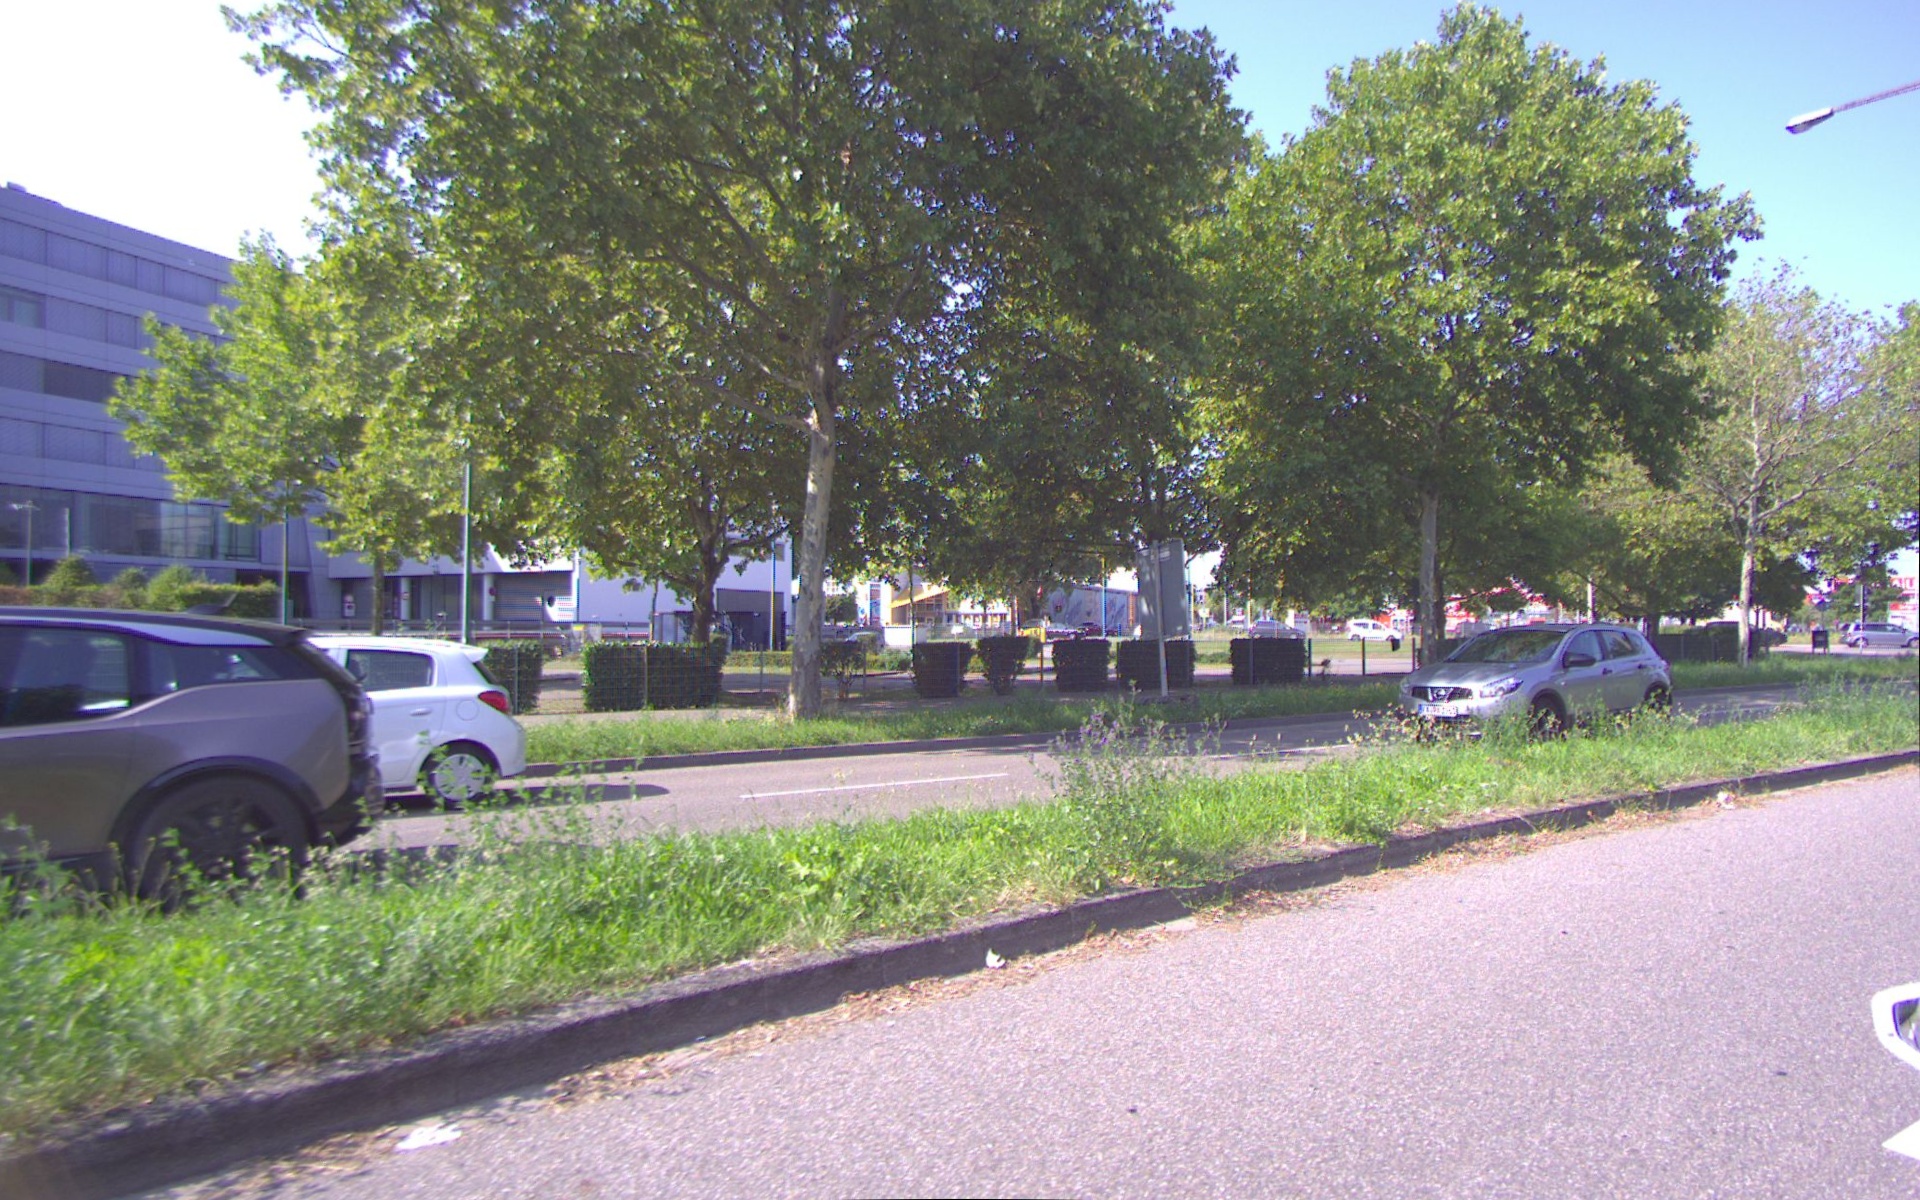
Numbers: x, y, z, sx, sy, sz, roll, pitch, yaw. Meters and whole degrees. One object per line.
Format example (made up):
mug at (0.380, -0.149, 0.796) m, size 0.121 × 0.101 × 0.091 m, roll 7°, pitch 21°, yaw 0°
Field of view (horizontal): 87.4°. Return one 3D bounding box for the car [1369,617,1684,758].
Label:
car at (7.568, 1.065, 13.368) m, size 4.060 × 1.615 × 1.871 m, roll 1°, pitch -2°, yaw -30°

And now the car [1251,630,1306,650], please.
car at (25.309, 3.195, 79.842) m, size 3.925 × 1.565 × 1.838 m, roll -1°, pitch -2°, yaw 25°

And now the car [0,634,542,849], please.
car at (-5.833, 1.039, 8.593) m, size 3.955 × 1.501 × 1.782 m, roll 1°, pitch -2°, yaw -31°

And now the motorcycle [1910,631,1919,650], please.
motorcycle at (59.423, 2.486, 61.288) m, size 2.037 × 1.151 × 0.677 m, roll 0°, pitch -1°, yaw 25°

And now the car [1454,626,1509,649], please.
car at (37.816, 2.732, 72.961) m, size 3.426 × 1.601 × 1.725 m, roll -1°, pitch -2°, yaw 24°

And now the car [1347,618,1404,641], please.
car at (31.514, 2.209, 76.144) m, size 3.924 × 1.701 × 1.869 m, roll 0°, pitch -1°, yaw 24°

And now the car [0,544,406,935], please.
car at (-5.330, 0.678, 5.188) m, size 4.257 × 1.782 × 1.984 m, roll 1°, pitch -4°, yaw -31°

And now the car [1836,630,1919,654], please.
car at (58.825, 2.677, 64.439) m, size 3.632 × 1.462 × 1.466 m, roll 0°, pitch -1°, yaw 25°

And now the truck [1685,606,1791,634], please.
truck at (88.327, 2.317, 114.309) m, size 8.844 × 2.996 × 3.512 m, roll -1°, pitch -2°, yaw 25°

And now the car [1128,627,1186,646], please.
car at (16.449, 3.077, 83.762) m, size 4.500 × 1.565 × 1.870 m, roll -1°, pitch -2°, yaw 21°
